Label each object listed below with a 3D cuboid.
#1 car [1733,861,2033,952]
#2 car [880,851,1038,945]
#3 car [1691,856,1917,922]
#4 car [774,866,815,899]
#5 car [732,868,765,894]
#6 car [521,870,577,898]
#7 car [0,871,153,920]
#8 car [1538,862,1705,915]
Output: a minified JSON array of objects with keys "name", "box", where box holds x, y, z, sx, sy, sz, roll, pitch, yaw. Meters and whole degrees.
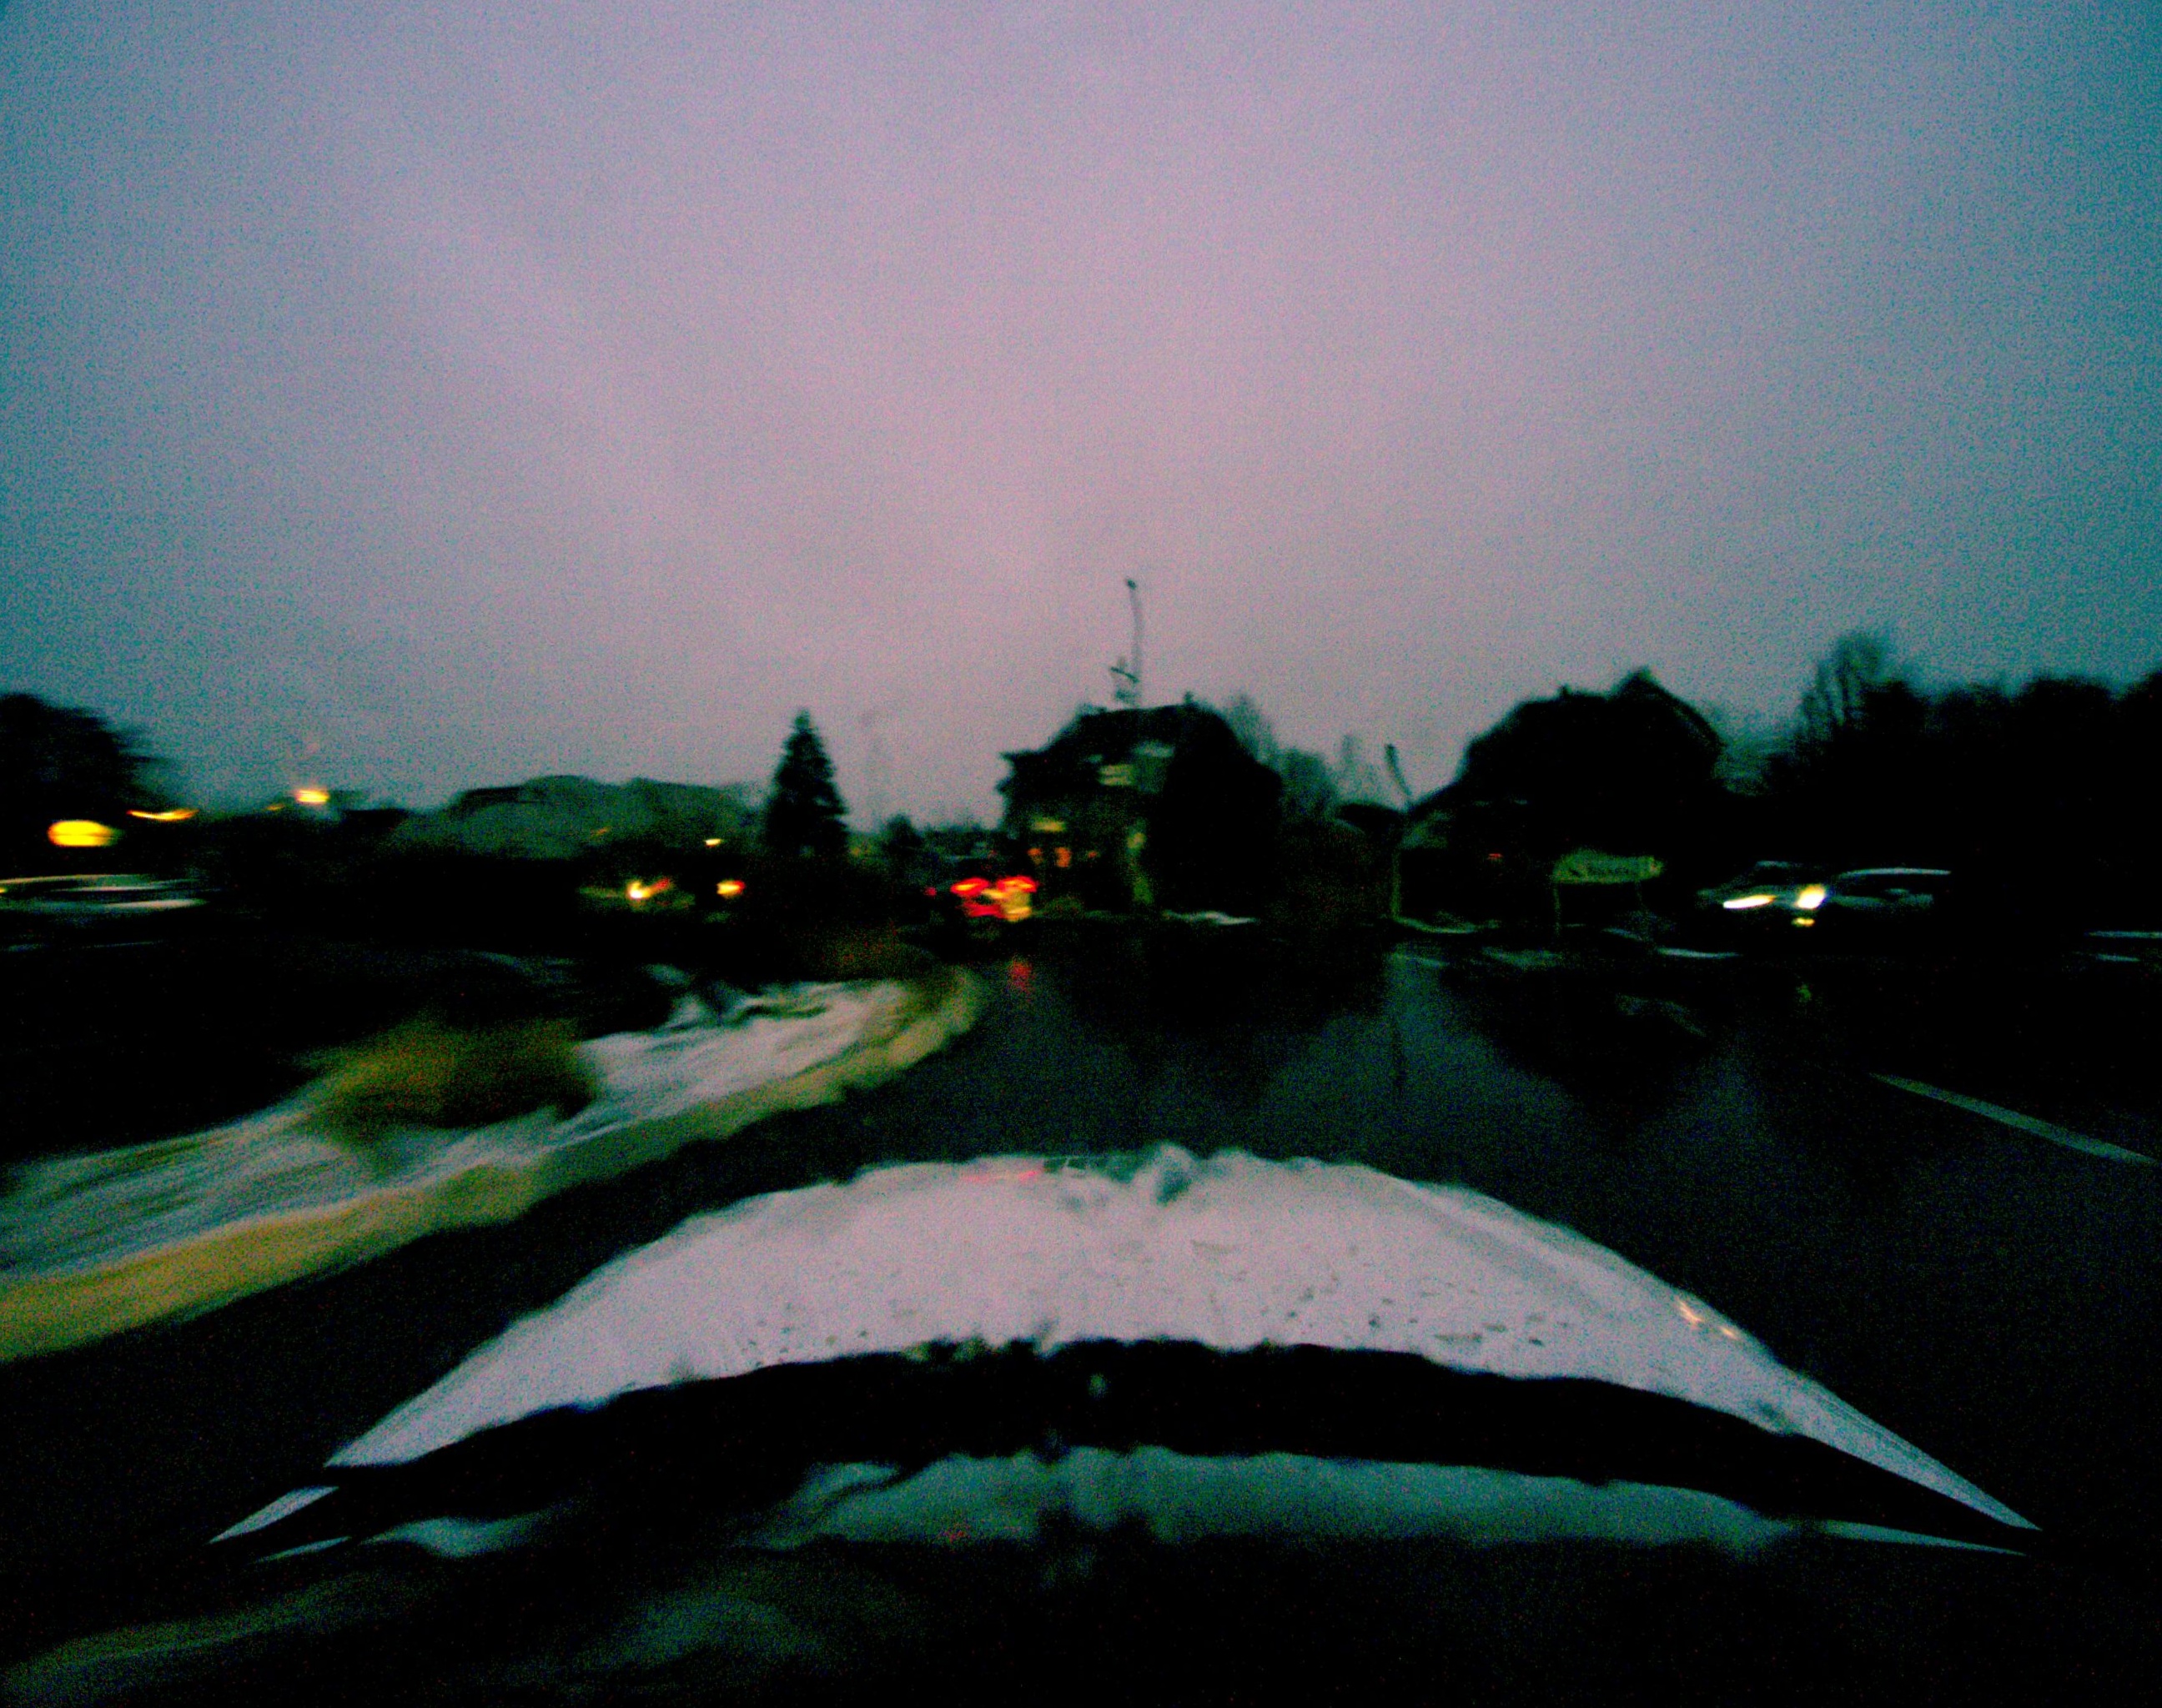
[{"name":"car","box":[14.329,0.907,14.728,3.682,1.492,1.664,1,-2,4]},{"name":"car","box":[-2.687,0.836,17.210,1.957,1.718,3.961,0,-1,-31]},{"name":"car","box":[22.756,1.058,25.989,5.179,1.919,1.951,0,-2,35]},{"name":"car","box":[-15.227,1.512,43.180,1.890,1.615,4.537,-1,-2,-22]},{"name":"car","box":[-21.428,1.766,52.632,1.890,1.548,4.537,-1,-2,-22]},{"name":"car","box":[-41.333,2.268,63.262,4.512,2.060,2.184,-1,0,37]},{"name":"car","box":[-47.868,1.919,38.197,2.015,2.134,5.435,0,-2,8]},{"name":"car","box":[21.223,1.367,32.204,5.262,1.865,2.383,-3,-1,34]}]
